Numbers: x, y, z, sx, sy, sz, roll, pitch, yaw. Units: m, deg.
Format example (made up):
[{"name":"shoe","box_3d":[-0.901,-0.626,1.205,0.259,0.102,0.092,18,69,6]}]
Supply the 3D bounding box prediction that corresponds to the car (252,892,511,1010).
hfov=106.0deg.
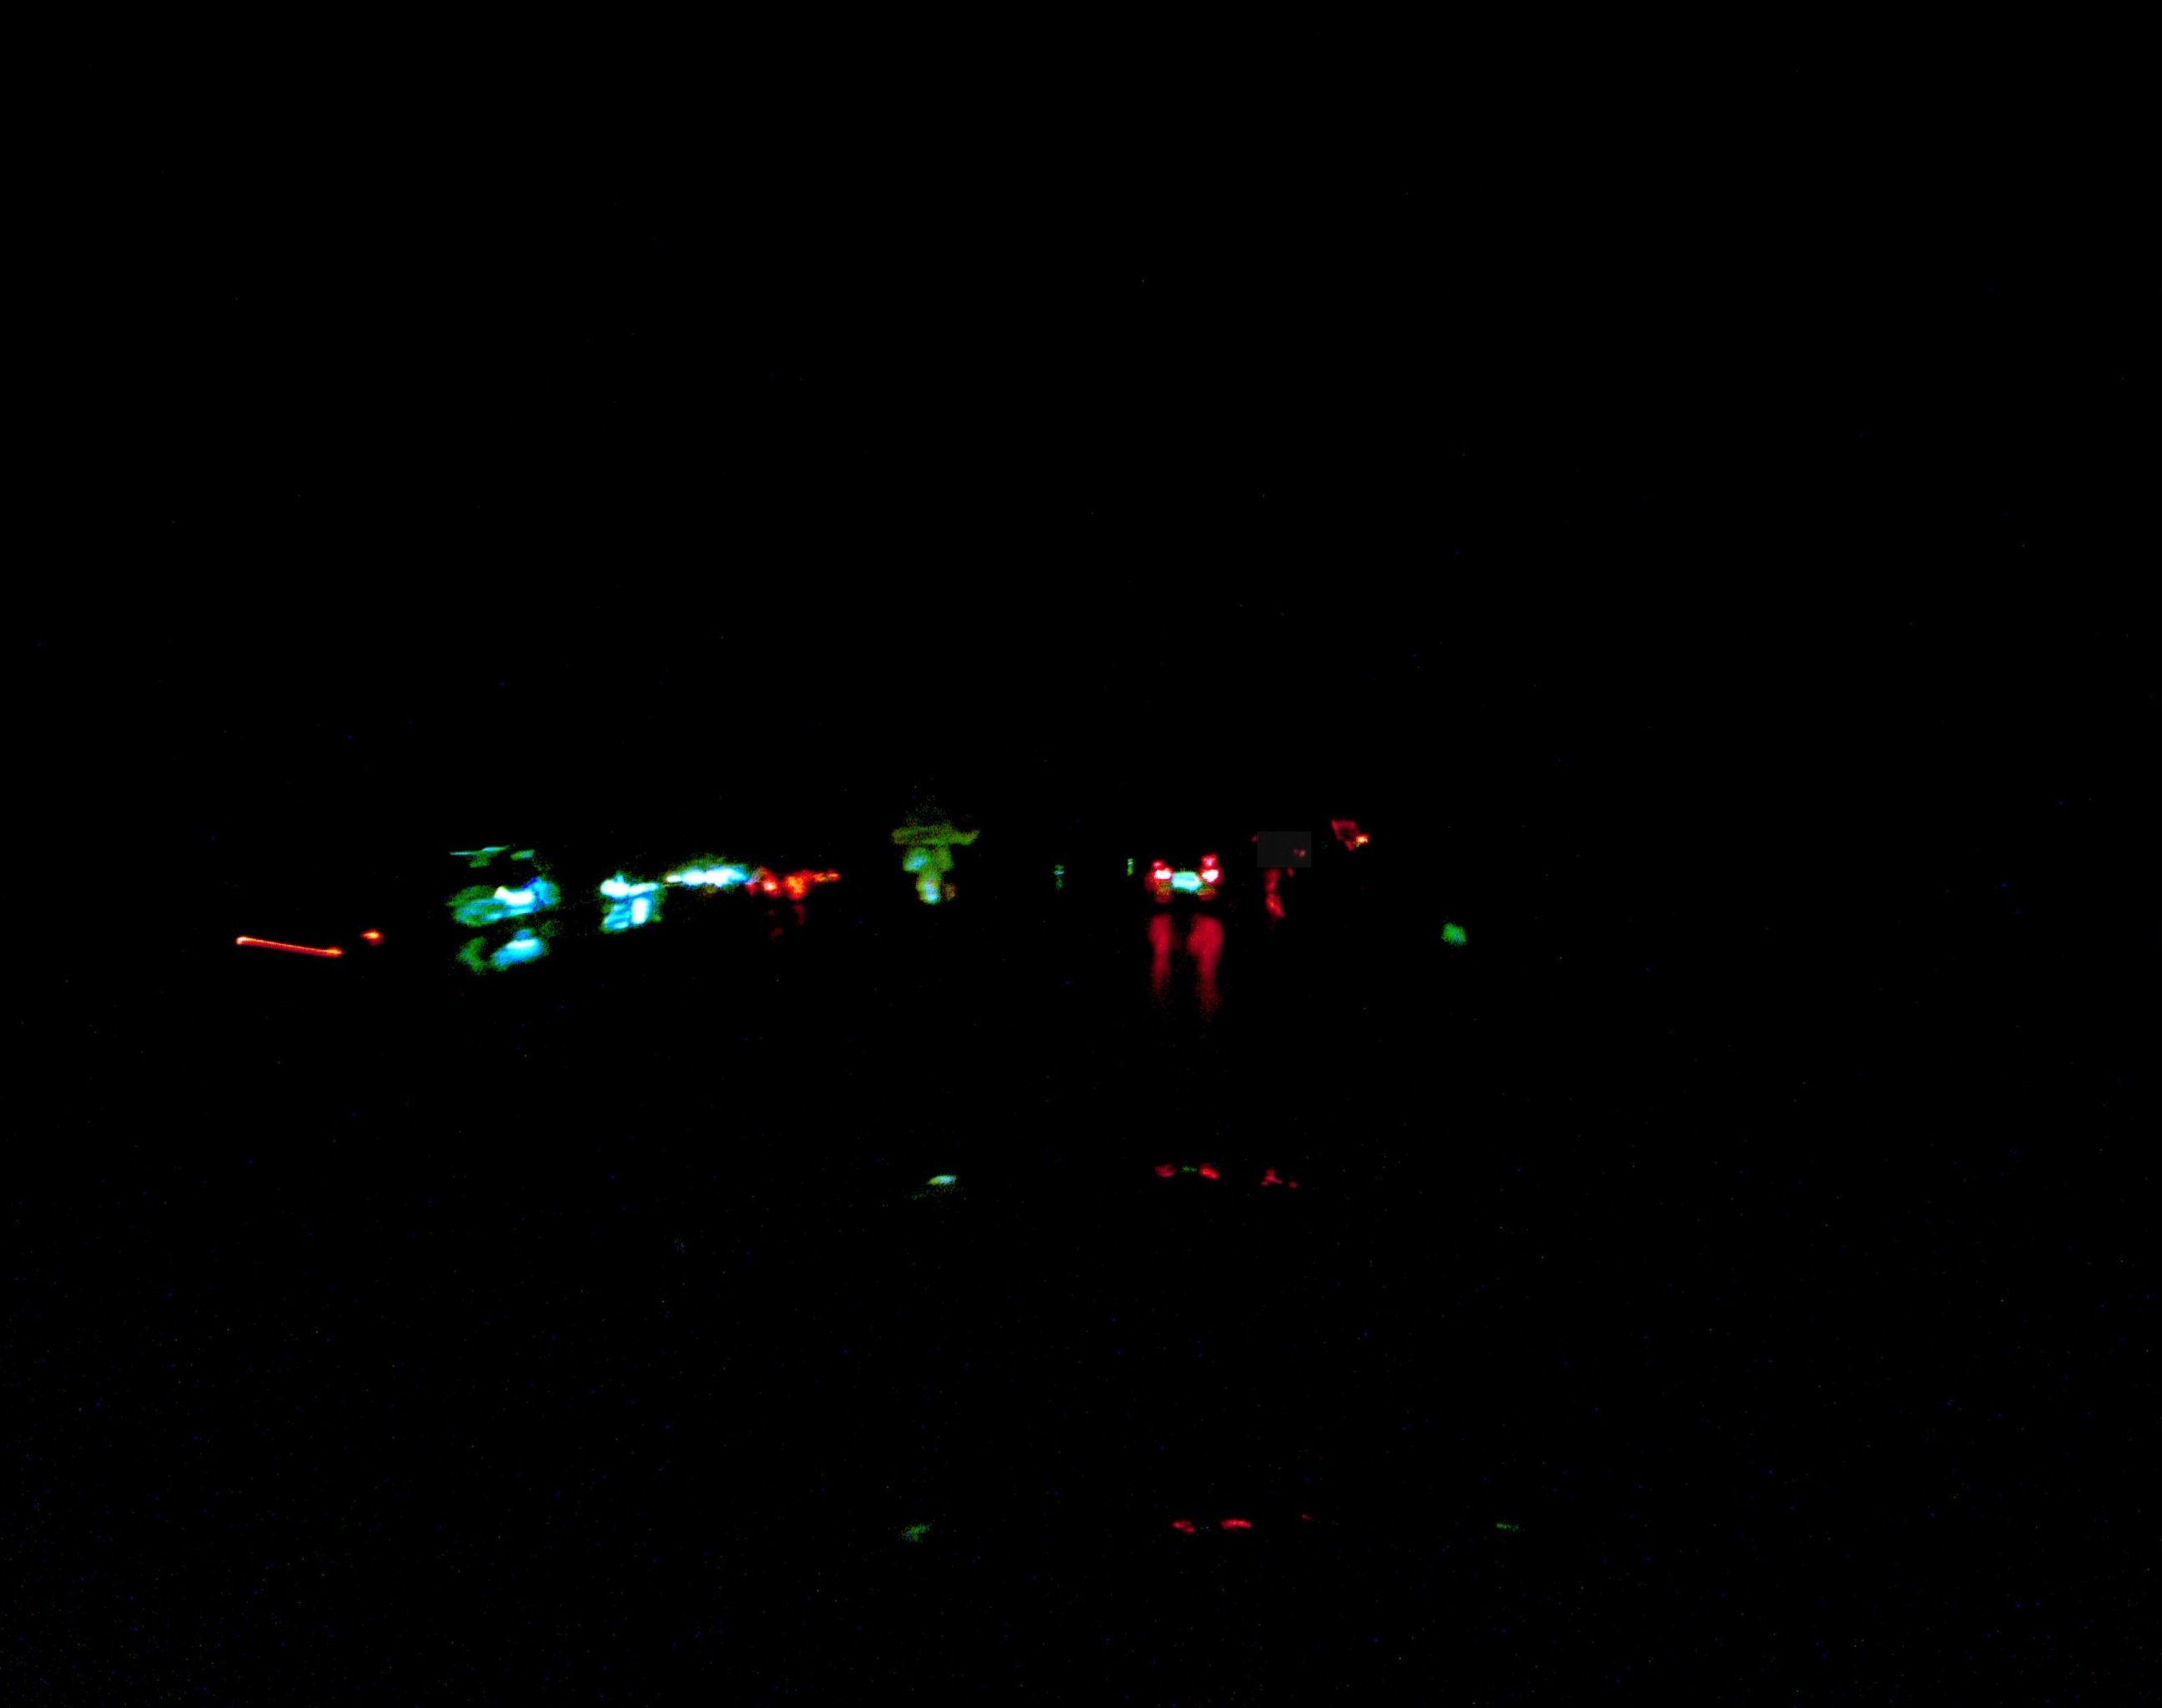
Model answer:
[{"name":"car","box_3d":[-12.398,1.616,14.814,1.649,1.575,3.838,-5,0,-8]}]

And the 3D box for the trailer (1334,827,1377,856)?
[{"name":"trailer","box_3d":[22.528,-0.966,66.414,2.059,2.014,10.709,-4,-1,25]}]

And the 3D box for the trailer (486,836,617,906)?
[{"name":"trailer","box_3d":[-34.270,1.225,53.569,3.448,3.878,13.287,-2,-2,-16]}]

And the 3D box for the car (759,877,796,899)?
[{"name":"car","box_3d":[-23.914,2.675,64.233,1.768,1.517,4.897,-3,-1,-10]}]

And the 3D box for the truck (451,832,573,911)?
[{"name":"truck","box_3d":[-32.160,0.970,46.488,3.407,3.973,7.415,-3,-1,-17]}]

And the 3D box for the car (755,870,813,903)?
[{"name":"car","box_3d":[-14.274,1.545,39.320,1.963,1.380,4.033,-2,-1,-11]}]
